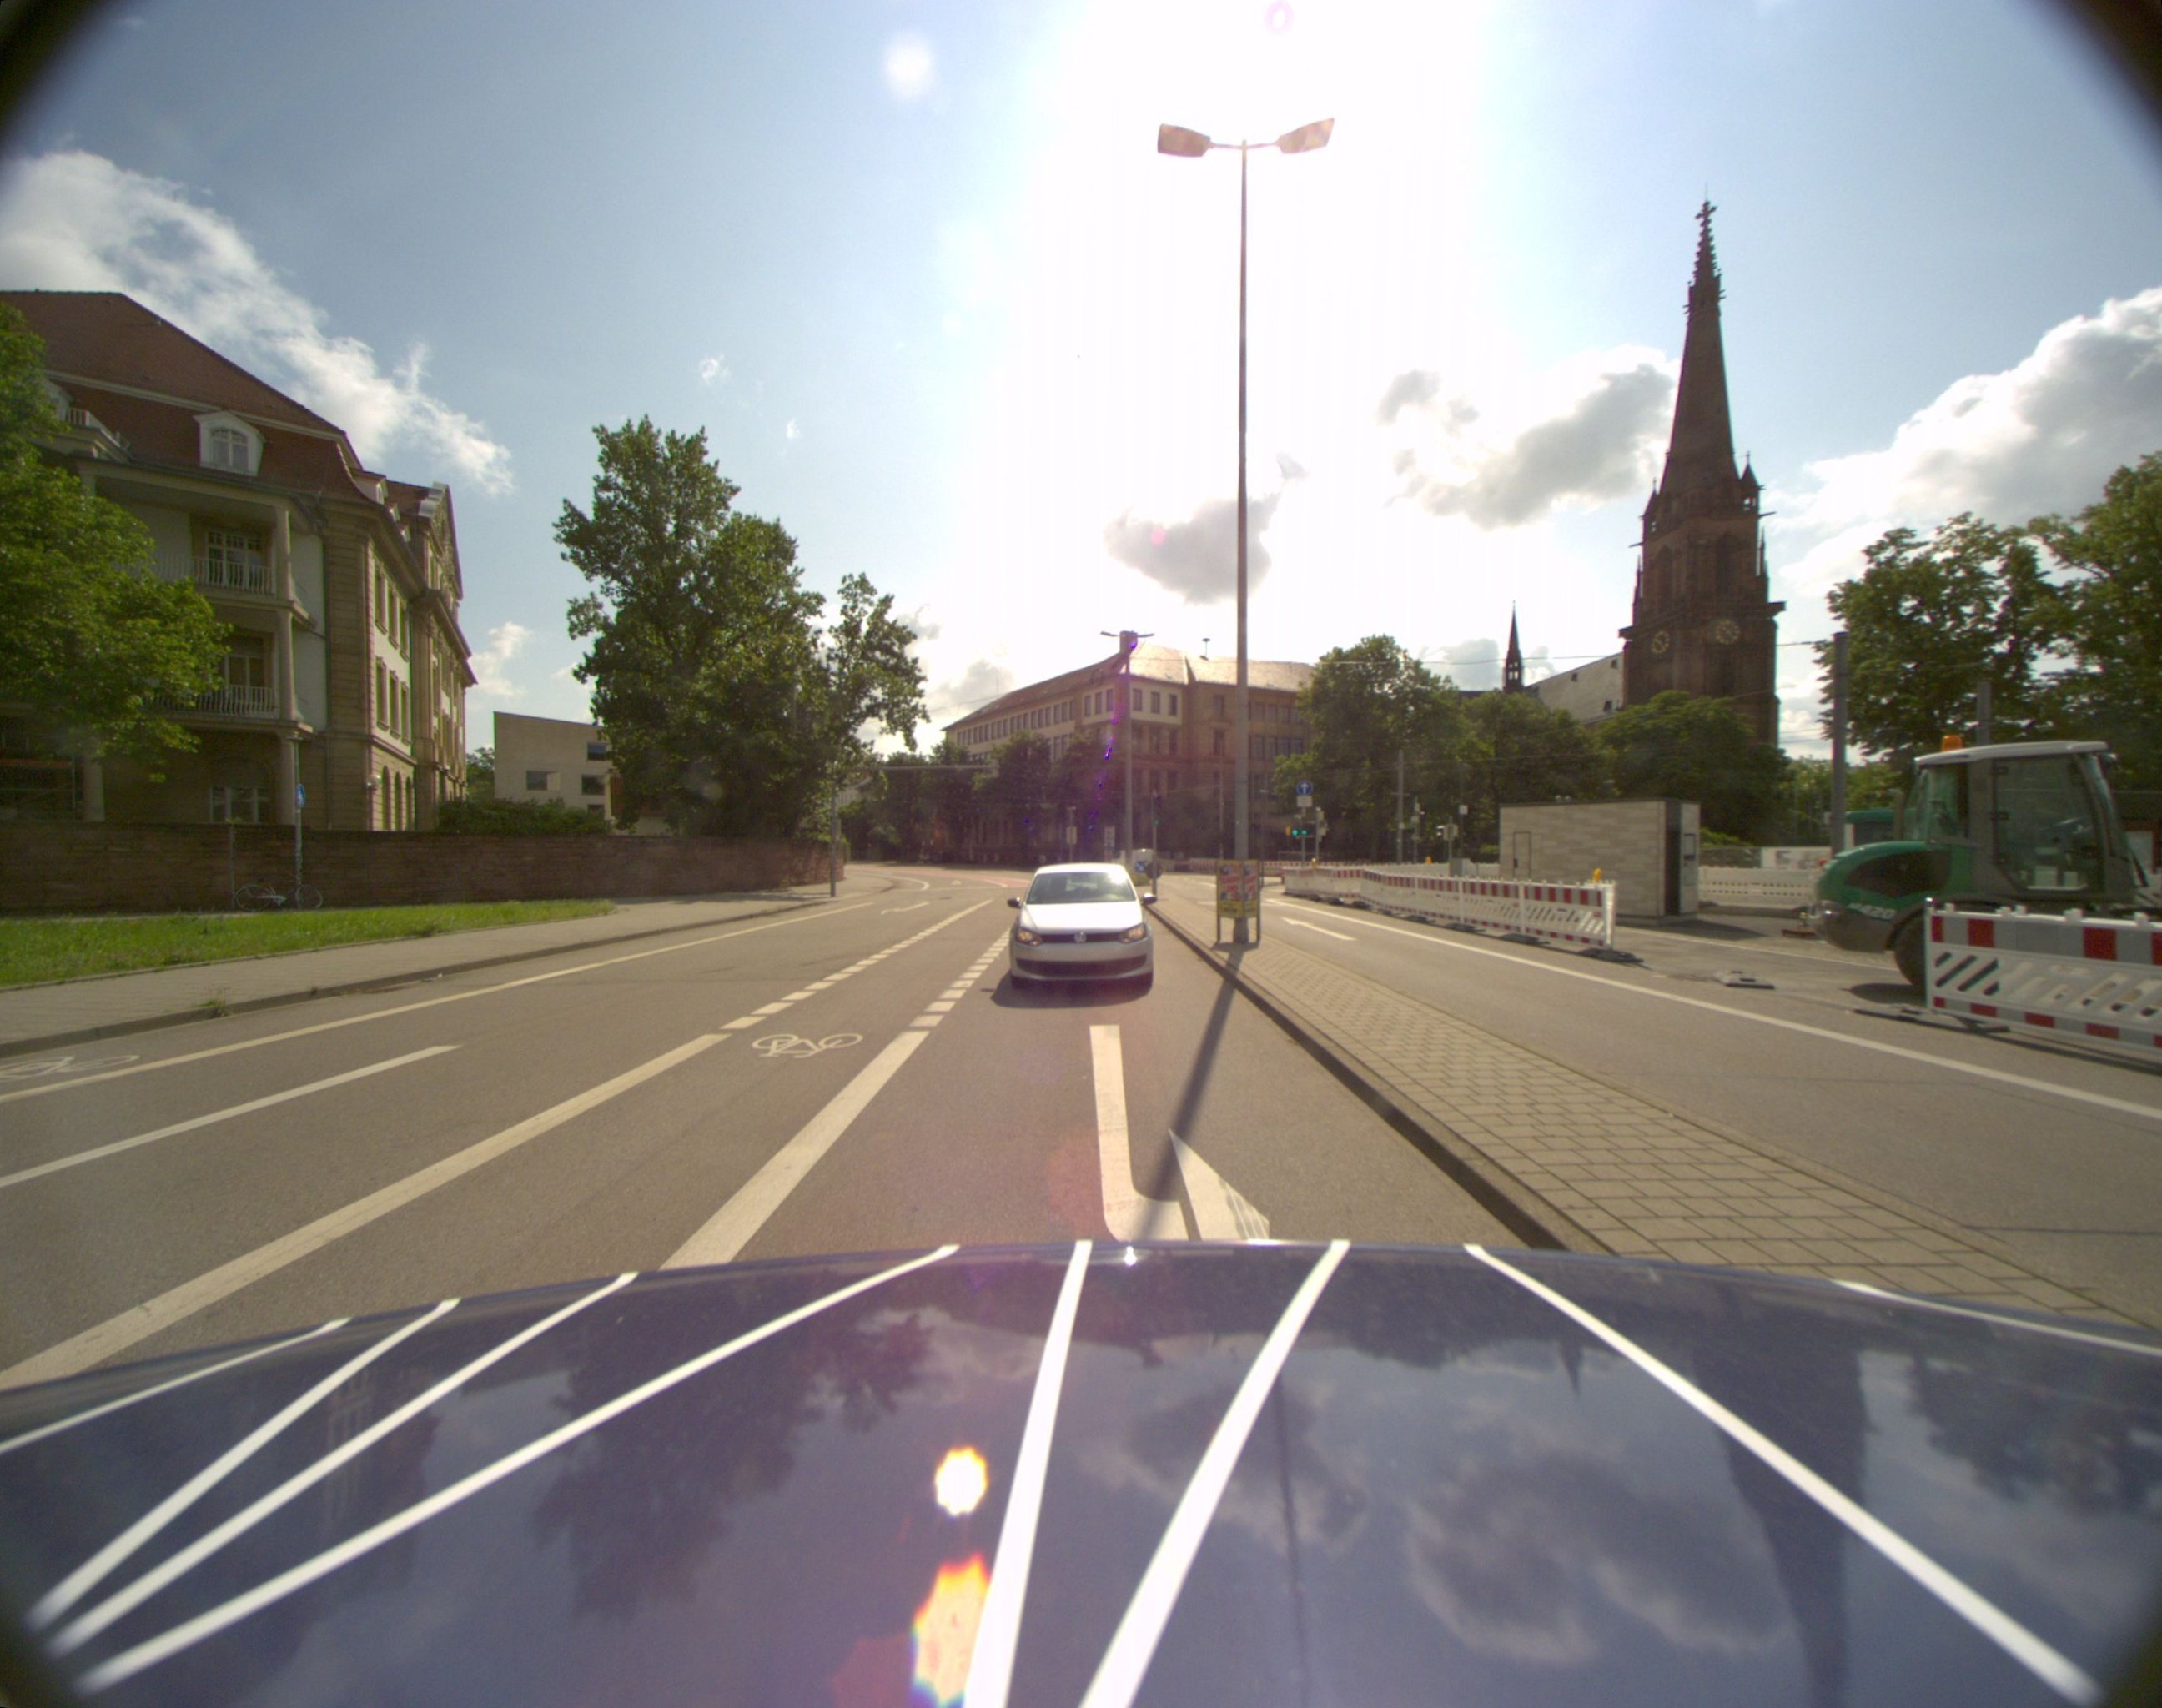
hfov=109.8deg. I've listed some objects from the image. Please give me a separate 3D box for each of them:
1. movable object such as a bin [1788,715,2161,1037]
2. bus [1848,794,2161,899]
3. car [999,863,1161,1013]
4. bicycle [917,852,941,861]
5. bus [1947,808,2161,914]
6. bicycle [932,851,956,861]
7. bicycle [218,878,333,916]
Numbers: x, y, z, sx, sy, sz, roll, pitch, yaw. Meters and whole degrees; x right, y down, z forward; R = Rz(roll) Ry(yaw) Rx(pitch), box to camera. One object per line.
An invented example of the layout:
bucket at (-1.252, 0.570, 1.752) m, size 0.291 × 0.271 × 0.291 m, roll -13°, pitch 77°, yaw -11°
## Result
movable object such as a bin at (10.402, 0.202, 7.789) m, size 2.004 × 2.932 × 4.437 m, roll 0°, pitch 1°, yaw -43°
bus at (33.963, -0.243, 24.894) m, size 2.999 × 3.243 × 12.043 m, roll -1°, pitch 1°, yaw -35°
car at (-0.014, 0.914, 10.026) m, size 1.655 × 1.433 × 4.004 m, roll -2°, pitch 1°, yaw 0°
bicycle at (-20.337, 0.311, 101.853) m, size 2.891 × 1.200 × 1.073 m, roll 0°, pitch 4°, yaw 8°
bus at (31.855, 0.204, 22.625) m, size 2.378 × 3.040 × 7.742 m, roll 0°, pitch 1°, yaw -35°
bicycle at (-18.000, 0.263, 99.632) m, size 2.891 × 1.200 × 1.050 m, roll 0°, pitch 4°, yaw 8°
bicycle at (-21.325, 1.109, 20.185) m, size 0.856 × 0.856 × 2.065 m, roll 4°, pitch 3°, yaw 44°
